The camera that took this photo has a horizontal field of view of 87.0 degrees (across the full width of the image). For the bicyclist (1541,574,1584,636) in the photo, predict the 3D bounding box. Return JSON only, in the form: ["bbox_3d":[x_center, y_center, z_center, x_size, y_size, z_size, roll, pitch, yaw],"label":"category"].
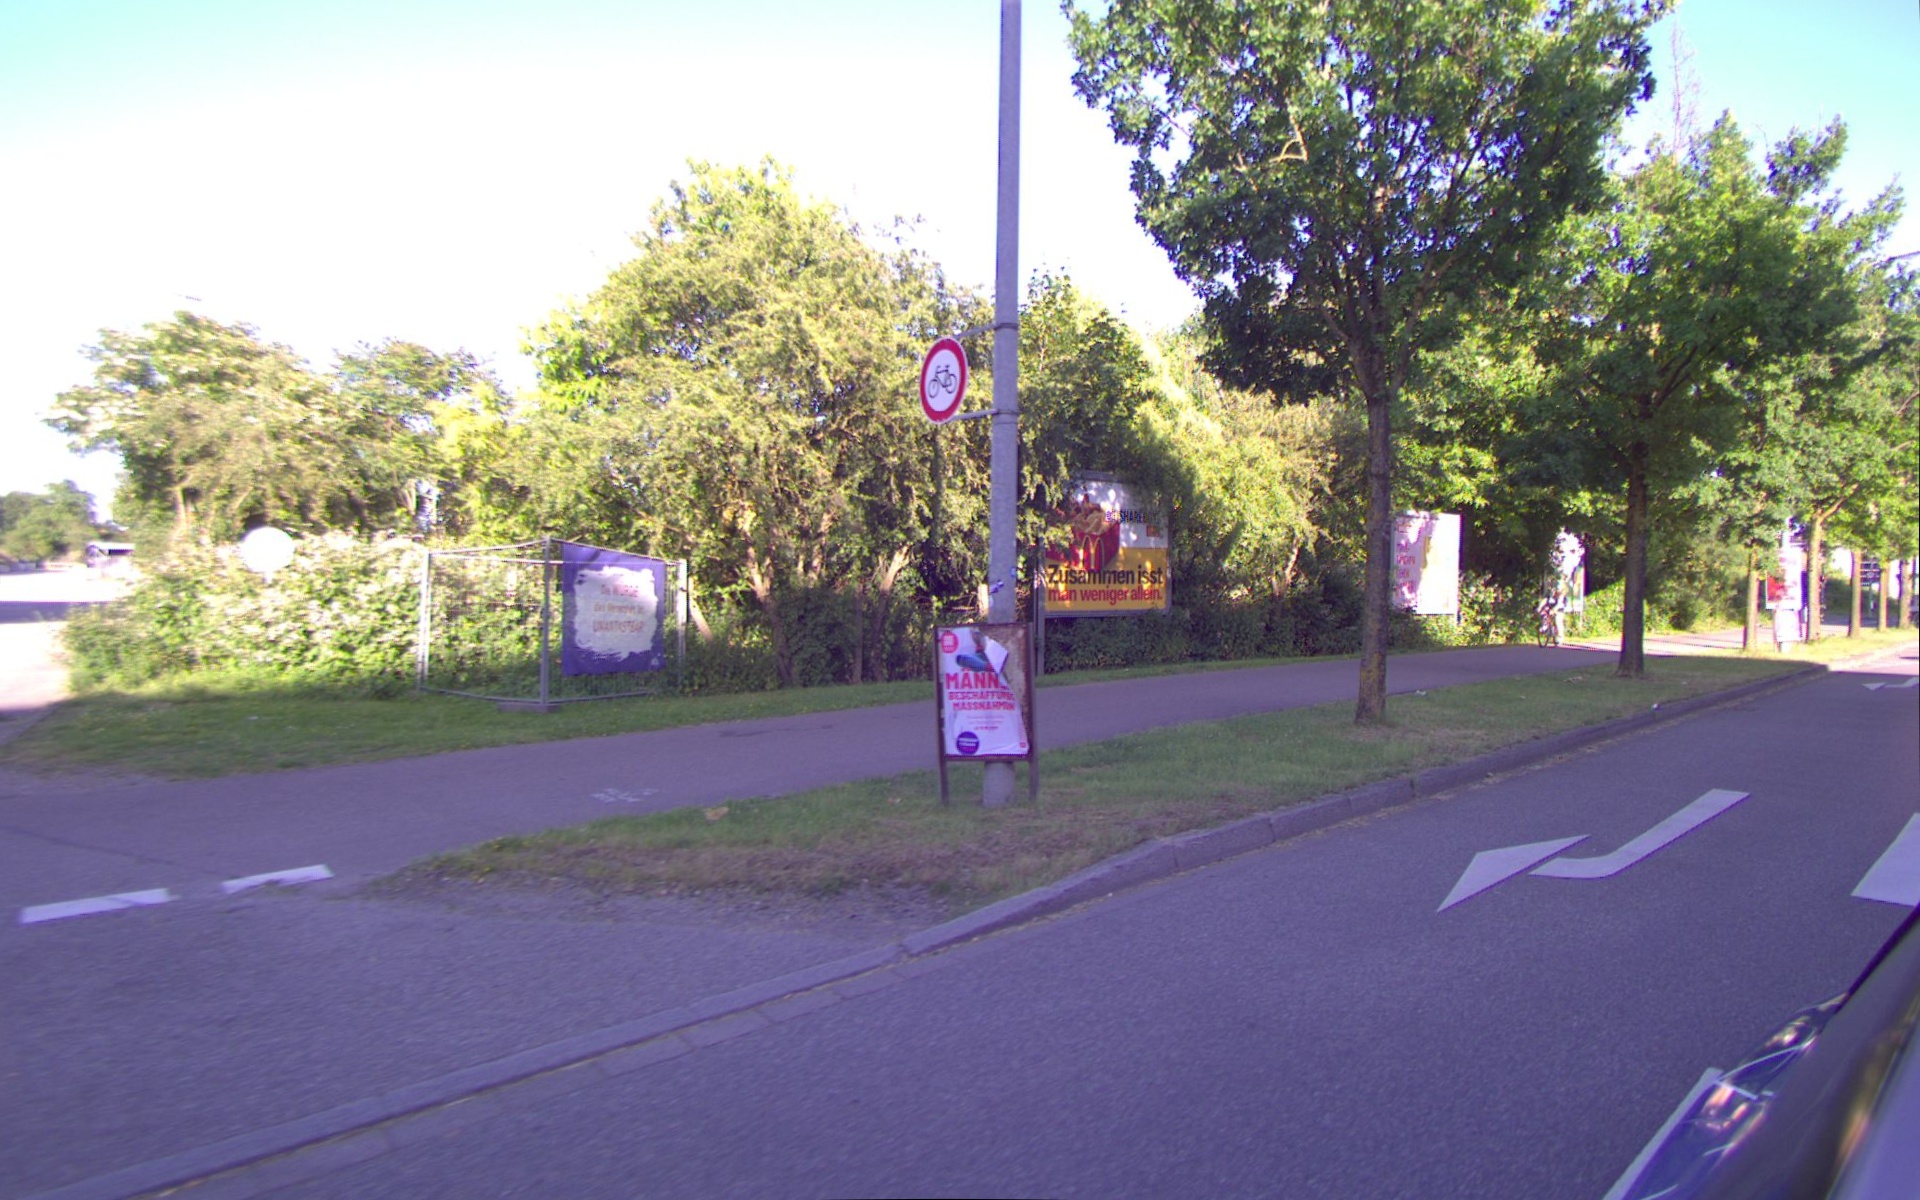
[{"bbox_3d":[15.364,0.111,25.806,0.685,1.541,1.019,2,1,45],"label":"bicyclist"}]

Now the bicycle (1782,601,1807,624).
[{"bbox_3d":[37.265,0.542,45.196,2.012,1.004,0.572,1,1,-43],"label":"bicycle"}]

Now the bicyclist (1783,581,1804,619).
[{"bbox_3d":[37.137,-0.008,45.084,0.850,1.630,0.566,0,1,-43],"label":"bicyclist"}]

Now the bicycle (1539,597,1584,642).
[{"bbox_3d":[15.373,0.475,25.845,0.516,1.086,1.905,2,2,44],"label":"bicycle"}]
